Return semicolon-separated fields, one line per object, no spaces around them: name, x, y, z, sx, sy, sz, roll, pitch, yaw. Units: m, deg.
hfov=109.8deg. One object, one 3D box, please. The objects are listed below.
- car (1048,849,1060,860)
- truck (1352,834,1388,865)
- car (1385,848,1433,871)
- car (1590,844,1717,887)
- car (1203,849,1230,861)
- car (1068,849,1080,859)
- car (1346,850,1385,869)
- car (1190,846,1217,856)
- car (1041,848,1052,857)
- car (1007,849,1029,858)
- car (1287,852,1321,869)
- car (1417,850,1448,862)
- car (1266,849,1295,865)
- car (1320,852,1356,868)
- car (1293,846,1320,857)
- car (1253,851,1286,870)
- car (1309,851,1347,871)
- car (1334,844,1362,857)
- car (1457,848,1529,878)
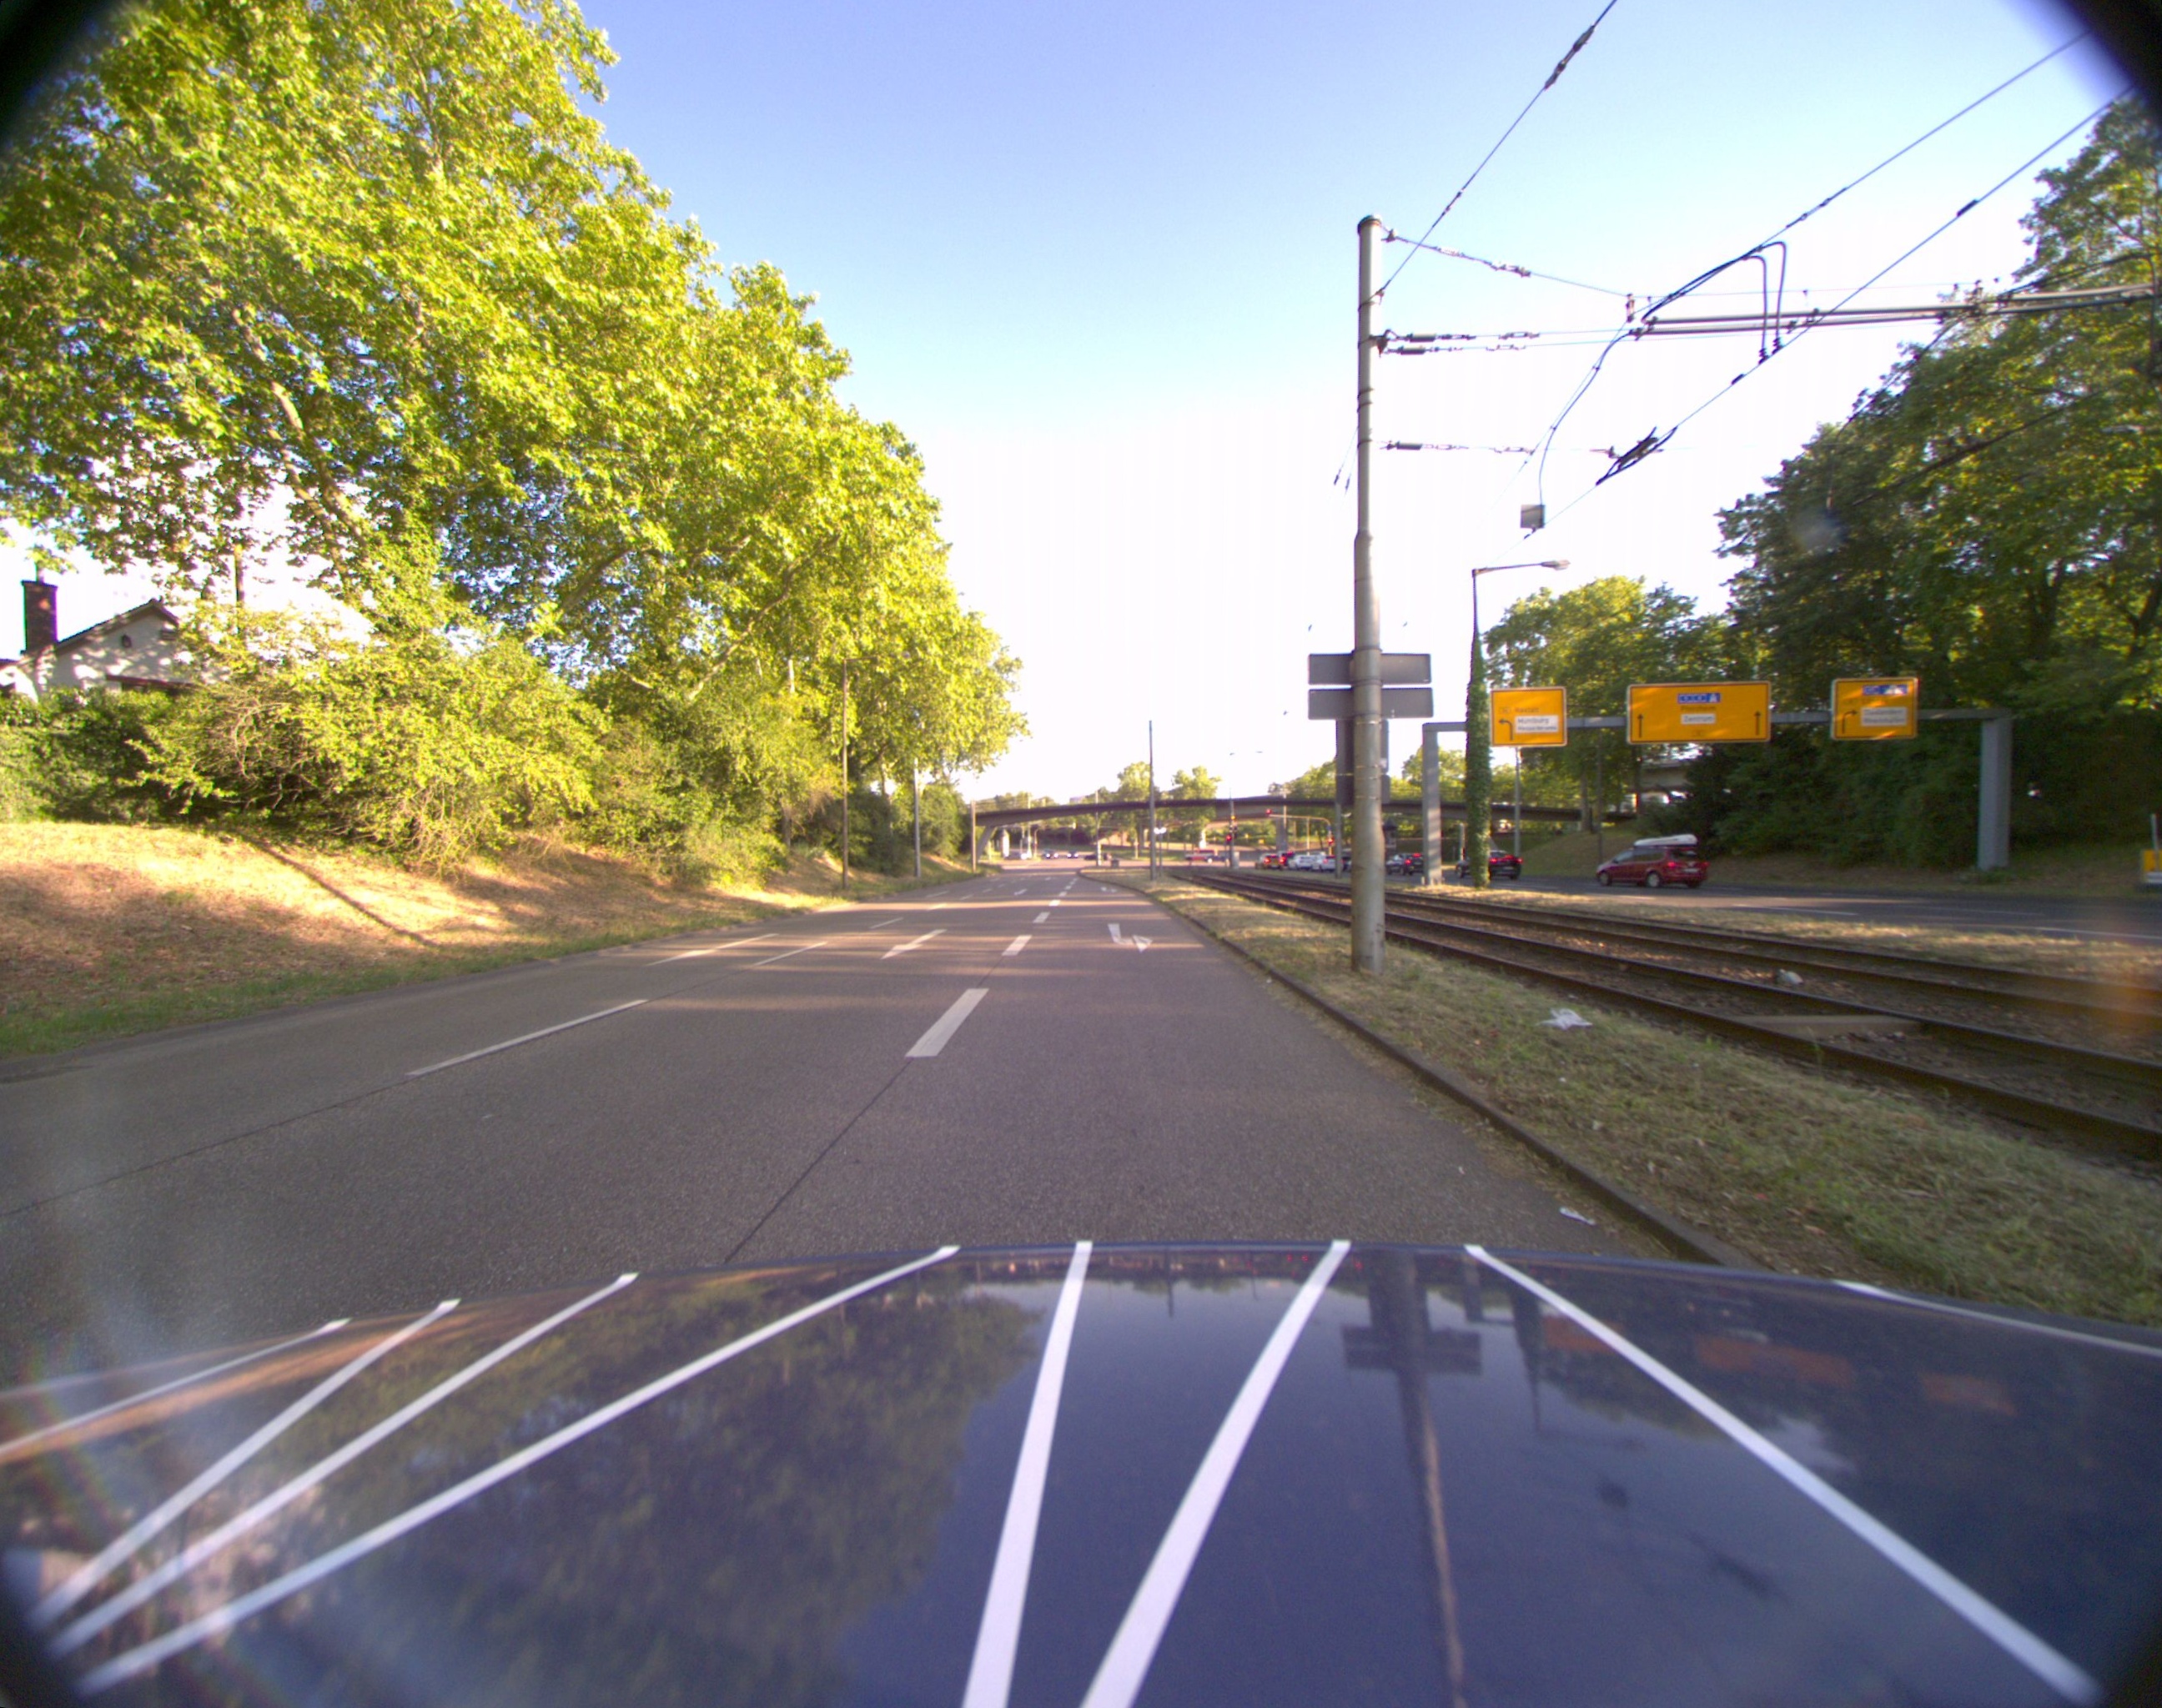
car;-4.907;0.074;139.200;1.960;1.779;3.998;-2;0;-5
truck;28.378;-0.446;74.797;2.281;2.862;6.886;-1;0;13
car;23.040;0.390;53.570;1.755;1.548;3.973;0;0;1
car;23.076;0.433;30.859;1.842;1.625;4.310;0;0;-1
car;19.977;0.140;111.807;3.787;1.491;1.765;-2;1;10
car;-1.263;0.020;141.876;1.905;1.726;3.998;-2;0;-5
car;23.963;0.444;64.053;1.813;1.535;4.000;-1;0;1
car;19.236;-0.503;119.640;3.868;1.403;1.814;-2;1;20
car;-7.196;-0.313;158.818;1.684;1.779;3.867;-2;0;-10
car;-10.814;-0.089;131.373;3.364;1.560;1.613;-2;0;17
car;19.912;0.537;68.081;1.918;1.416;4.227;-1;0;2
car;48.032;0.276;103.833;3.804;1.570;1.679;-2;1;24
car;19.577;0.258;74.739;1.917;1.540;4.227;-1;0;4
car;23.734;0.504;70.207;1.868;1.416;4.226;-1;0;0
car;33.646;-0.409;113.286;3.785;1.491;1.766;-2;1;18
car;16.143;0.501;65.233;1.767;1.535;4.000;-1;0;0
car;20.023;0.536;61.803;1.767;1.535;4.000;-1;0;0
car;38.313;-0.520;109.039;3.805;1.717;1.679;-2;1;20
car;22.916;0.460;42.490;1.735;1.536;4.334;-1;0;1
